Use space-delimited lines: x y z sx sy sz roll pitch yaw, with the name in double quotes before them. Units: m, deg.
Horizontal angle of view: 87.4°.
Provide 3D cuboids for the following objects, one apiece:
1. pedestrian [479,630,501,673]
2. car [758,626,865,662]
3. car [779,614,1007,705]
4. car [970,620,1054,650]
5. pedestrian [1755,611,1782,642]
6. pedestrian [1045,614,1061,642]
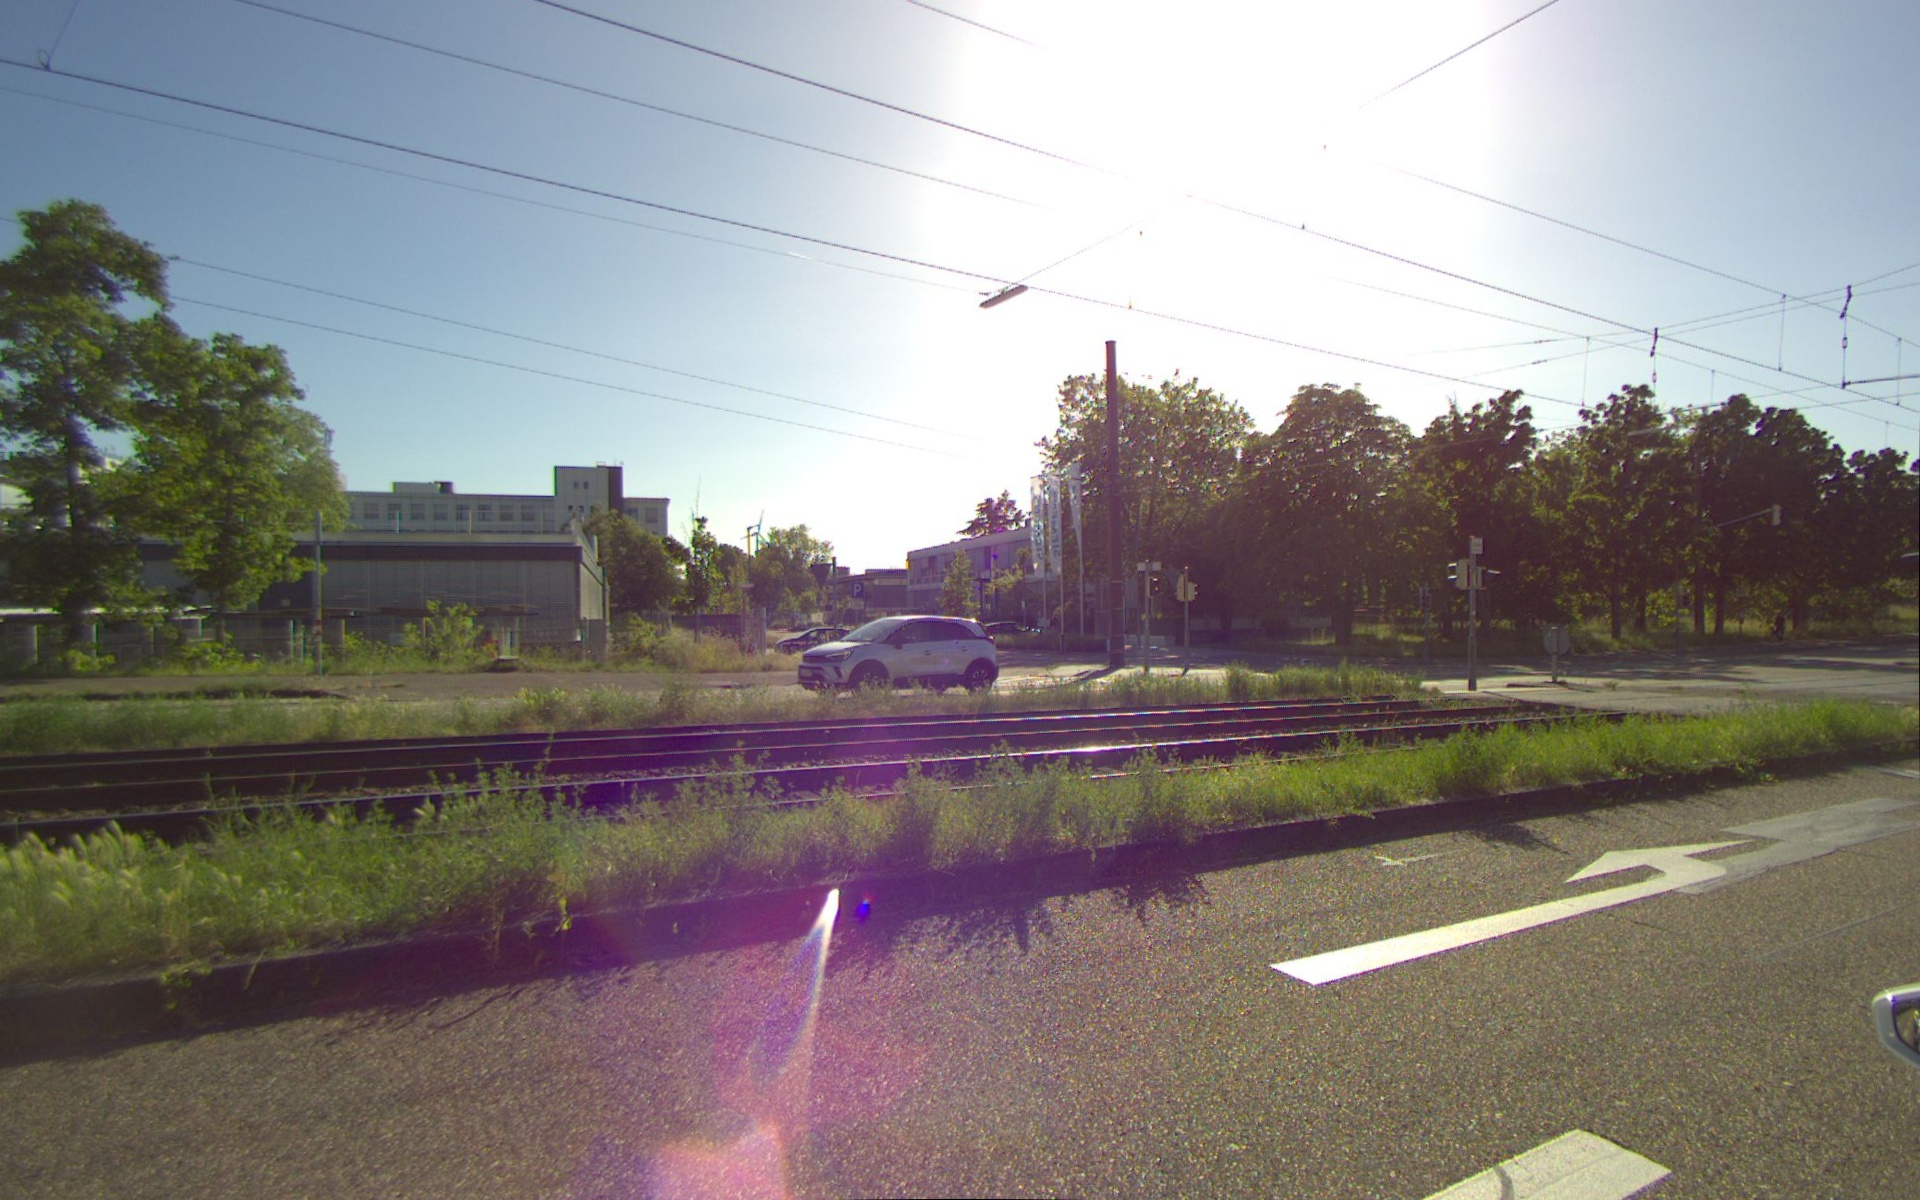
"pedestrian" -14.659 1.607 31.341 0.432 1.318 0.441 0 0 18
"car" -7.680 2.253 51.916 5.210 1.772 2.164 1 0 -19
"car" -1.257 1.080 19.662 4.116 1.578 1.842 1 0 -36
"car" 3.199 2.132 61.711 4.768 1.751 2.041 1 0 -21
"pedestrian" 46.482 1.504 57.733 0.919 1.757 0.761 0 0 -2
"pedestrian" 6.154 1.831 66.520 0.807 1.811 0.950 0 0 -16
